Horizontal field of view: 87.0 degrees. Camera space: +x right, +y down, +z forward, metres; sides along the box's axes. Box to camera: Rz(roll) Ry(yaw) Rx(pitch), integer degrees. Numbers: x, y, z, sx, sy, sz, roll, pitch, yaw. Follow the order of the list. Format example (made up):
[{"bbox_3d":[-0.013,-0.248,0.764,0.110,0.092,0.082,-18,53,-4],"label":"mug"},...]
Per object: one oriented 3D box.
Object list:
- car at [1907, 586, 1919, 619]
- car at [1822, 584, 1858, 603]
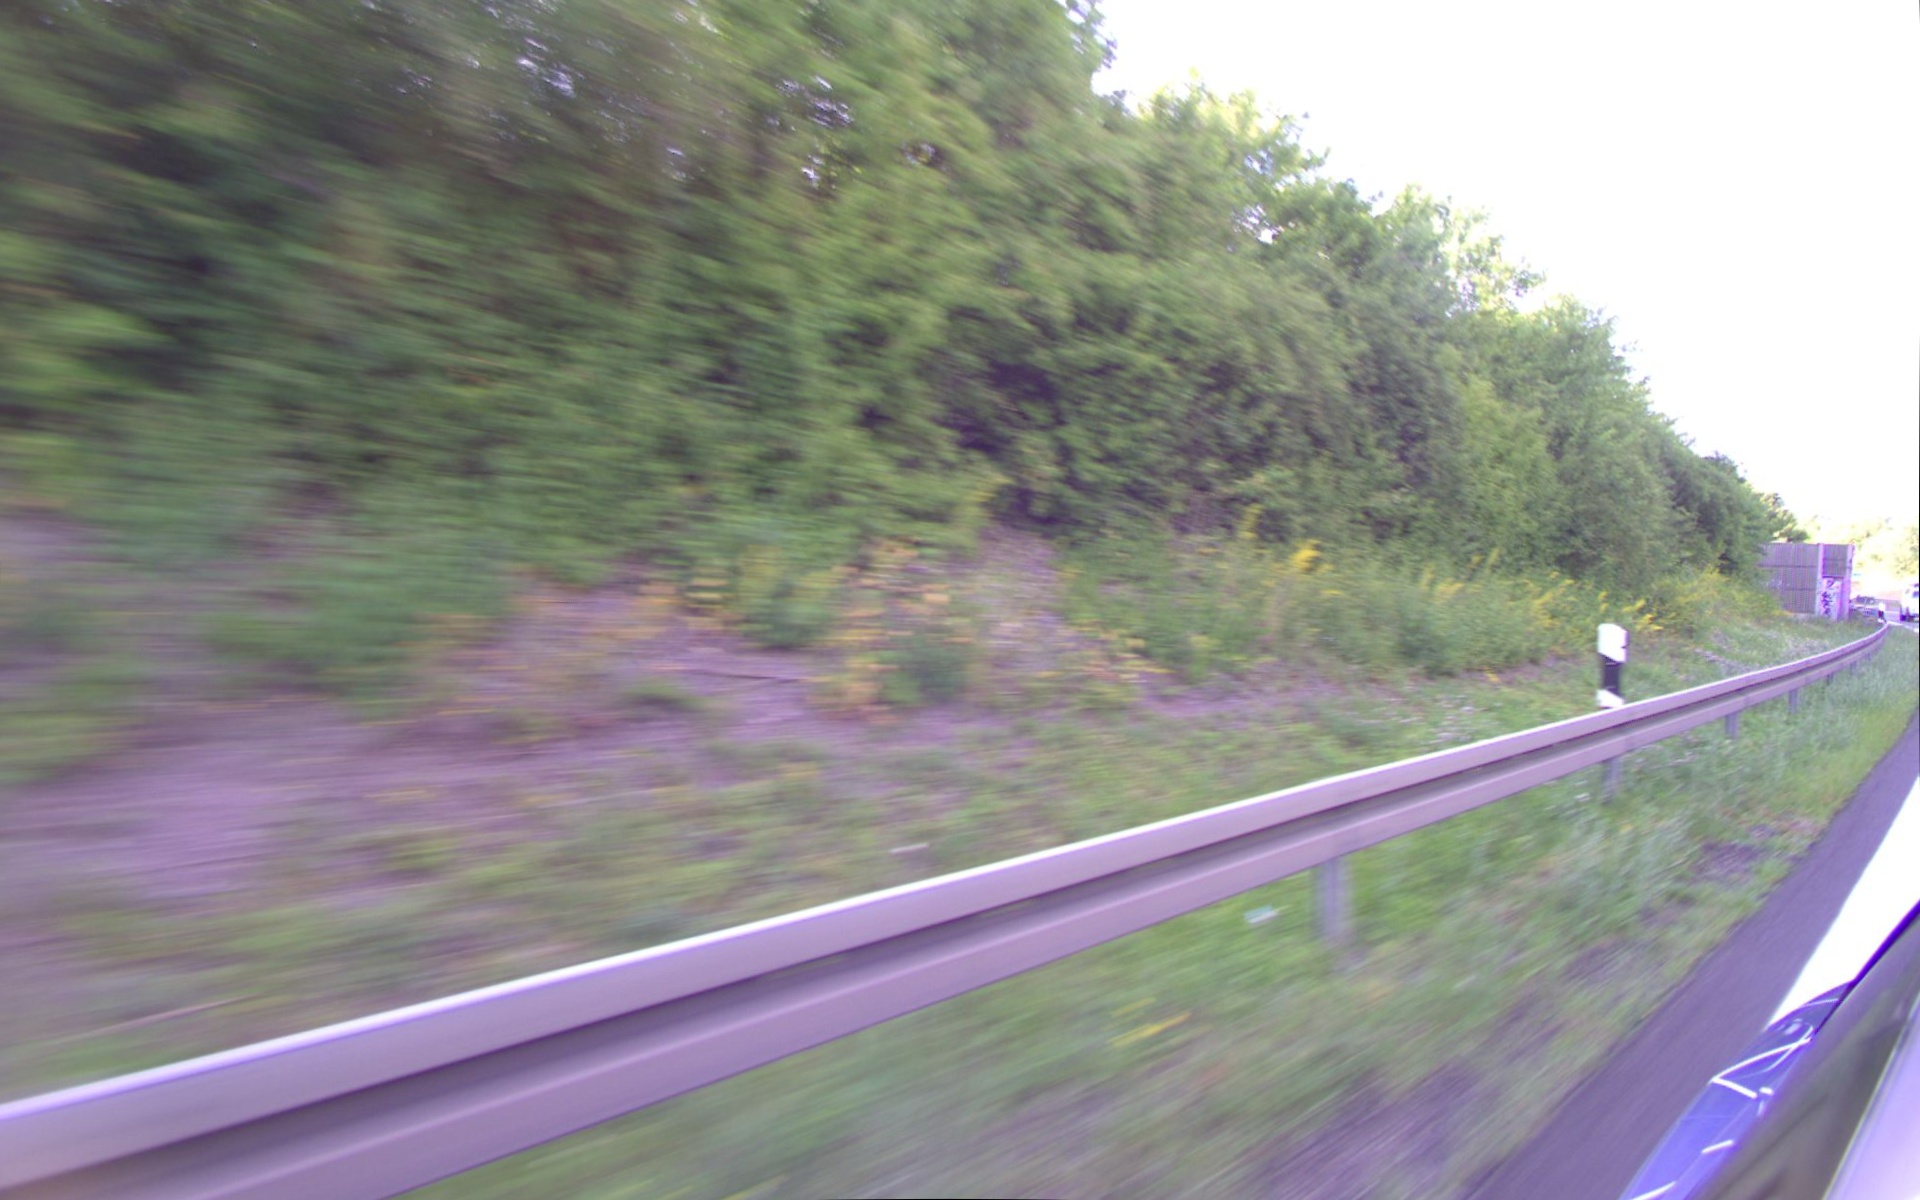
[{"bbox_3d":[50.192,0.102,51.747,1.892,1.686,3.952,-1,-1,33],"label":"car"},{"bbox_3d":[73.544,-0.574,84.629,1.608,1.478,3.623,1,1,31],"label":"car"}]
